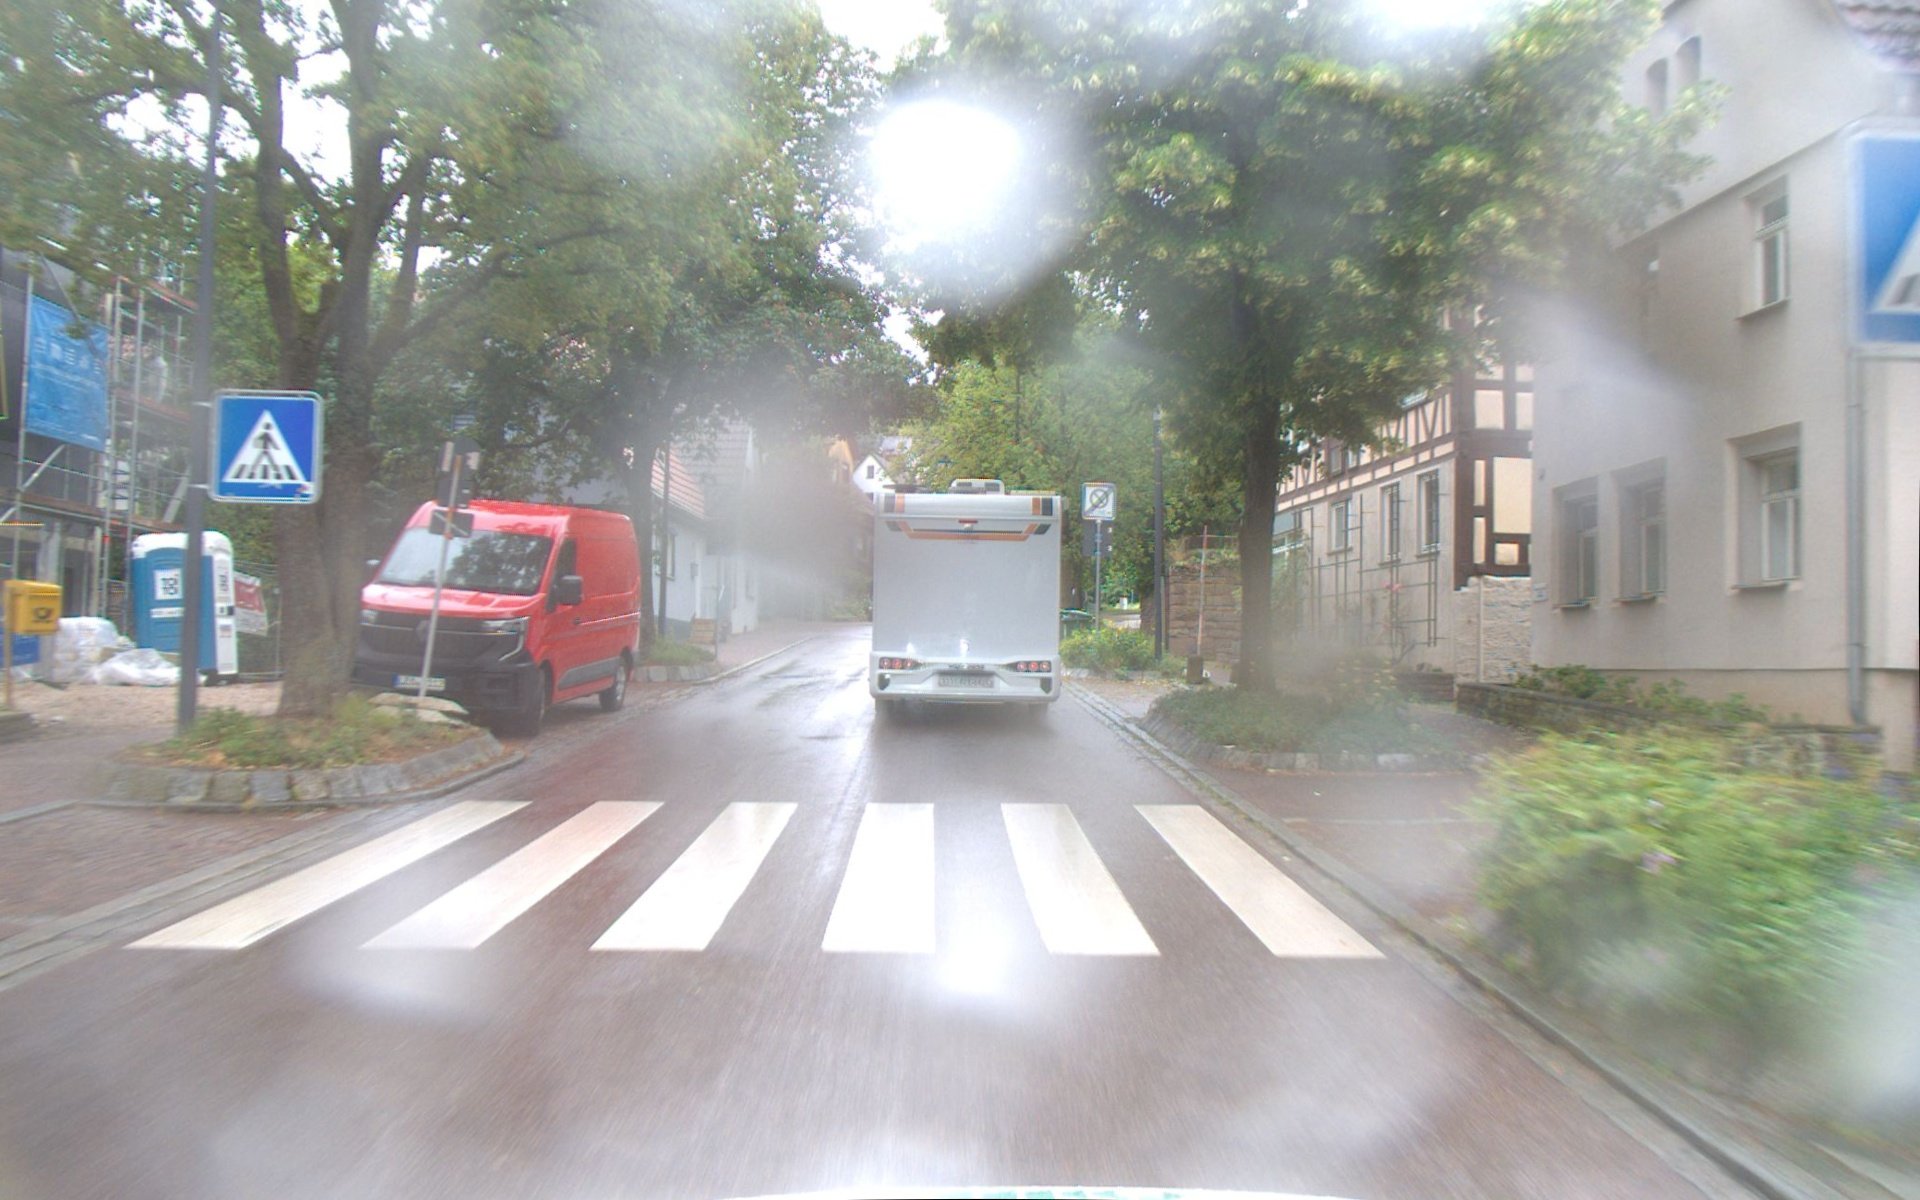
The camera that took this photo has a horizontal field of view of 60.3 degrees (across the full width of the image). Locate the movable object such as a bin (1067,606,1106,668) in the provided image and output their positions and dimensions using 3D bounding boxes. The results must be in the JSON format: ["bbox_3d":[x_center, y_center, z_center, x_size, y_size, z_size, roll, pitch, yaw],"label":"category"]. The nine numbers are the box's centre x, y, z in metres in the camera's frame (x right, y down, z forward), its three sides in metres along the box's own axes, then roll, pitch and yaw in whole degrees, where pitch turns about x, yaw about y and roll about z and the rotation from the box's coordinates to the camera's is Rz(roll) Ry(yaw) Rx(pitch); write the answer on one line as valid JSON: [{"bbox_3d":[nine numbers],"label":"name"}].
[{"bbox_3d":[2.579,0.750,33.694,0.706,1.234,0.727,1,0,-1],"label":"movable object such as a bin"}]

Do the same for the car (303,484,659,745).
[{"bbox_3d":[-5.253,0.108,19.200,2.256,2.526,5.786,1,1,2],"label":"car"}]

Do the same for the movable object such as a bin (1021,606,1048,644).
[{"bbox_3d":[2.240,0.750,50.005,0.753,1.126,0.884,-1,0,-1],"label":"movable object such as a bin"}]

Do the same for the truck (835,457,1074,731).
[{"bbox_3d":[-0.112,-0.066,21.762,2.640,3.038,6.235,1,0,-1],"label":"truck"}]

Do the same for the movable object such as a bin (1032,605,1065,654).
[{"bbox_3d":[2.112,0.699,39.610,0.709,1.163,0.703,1,0,-4],"label":"movable object such as a bin"}]
